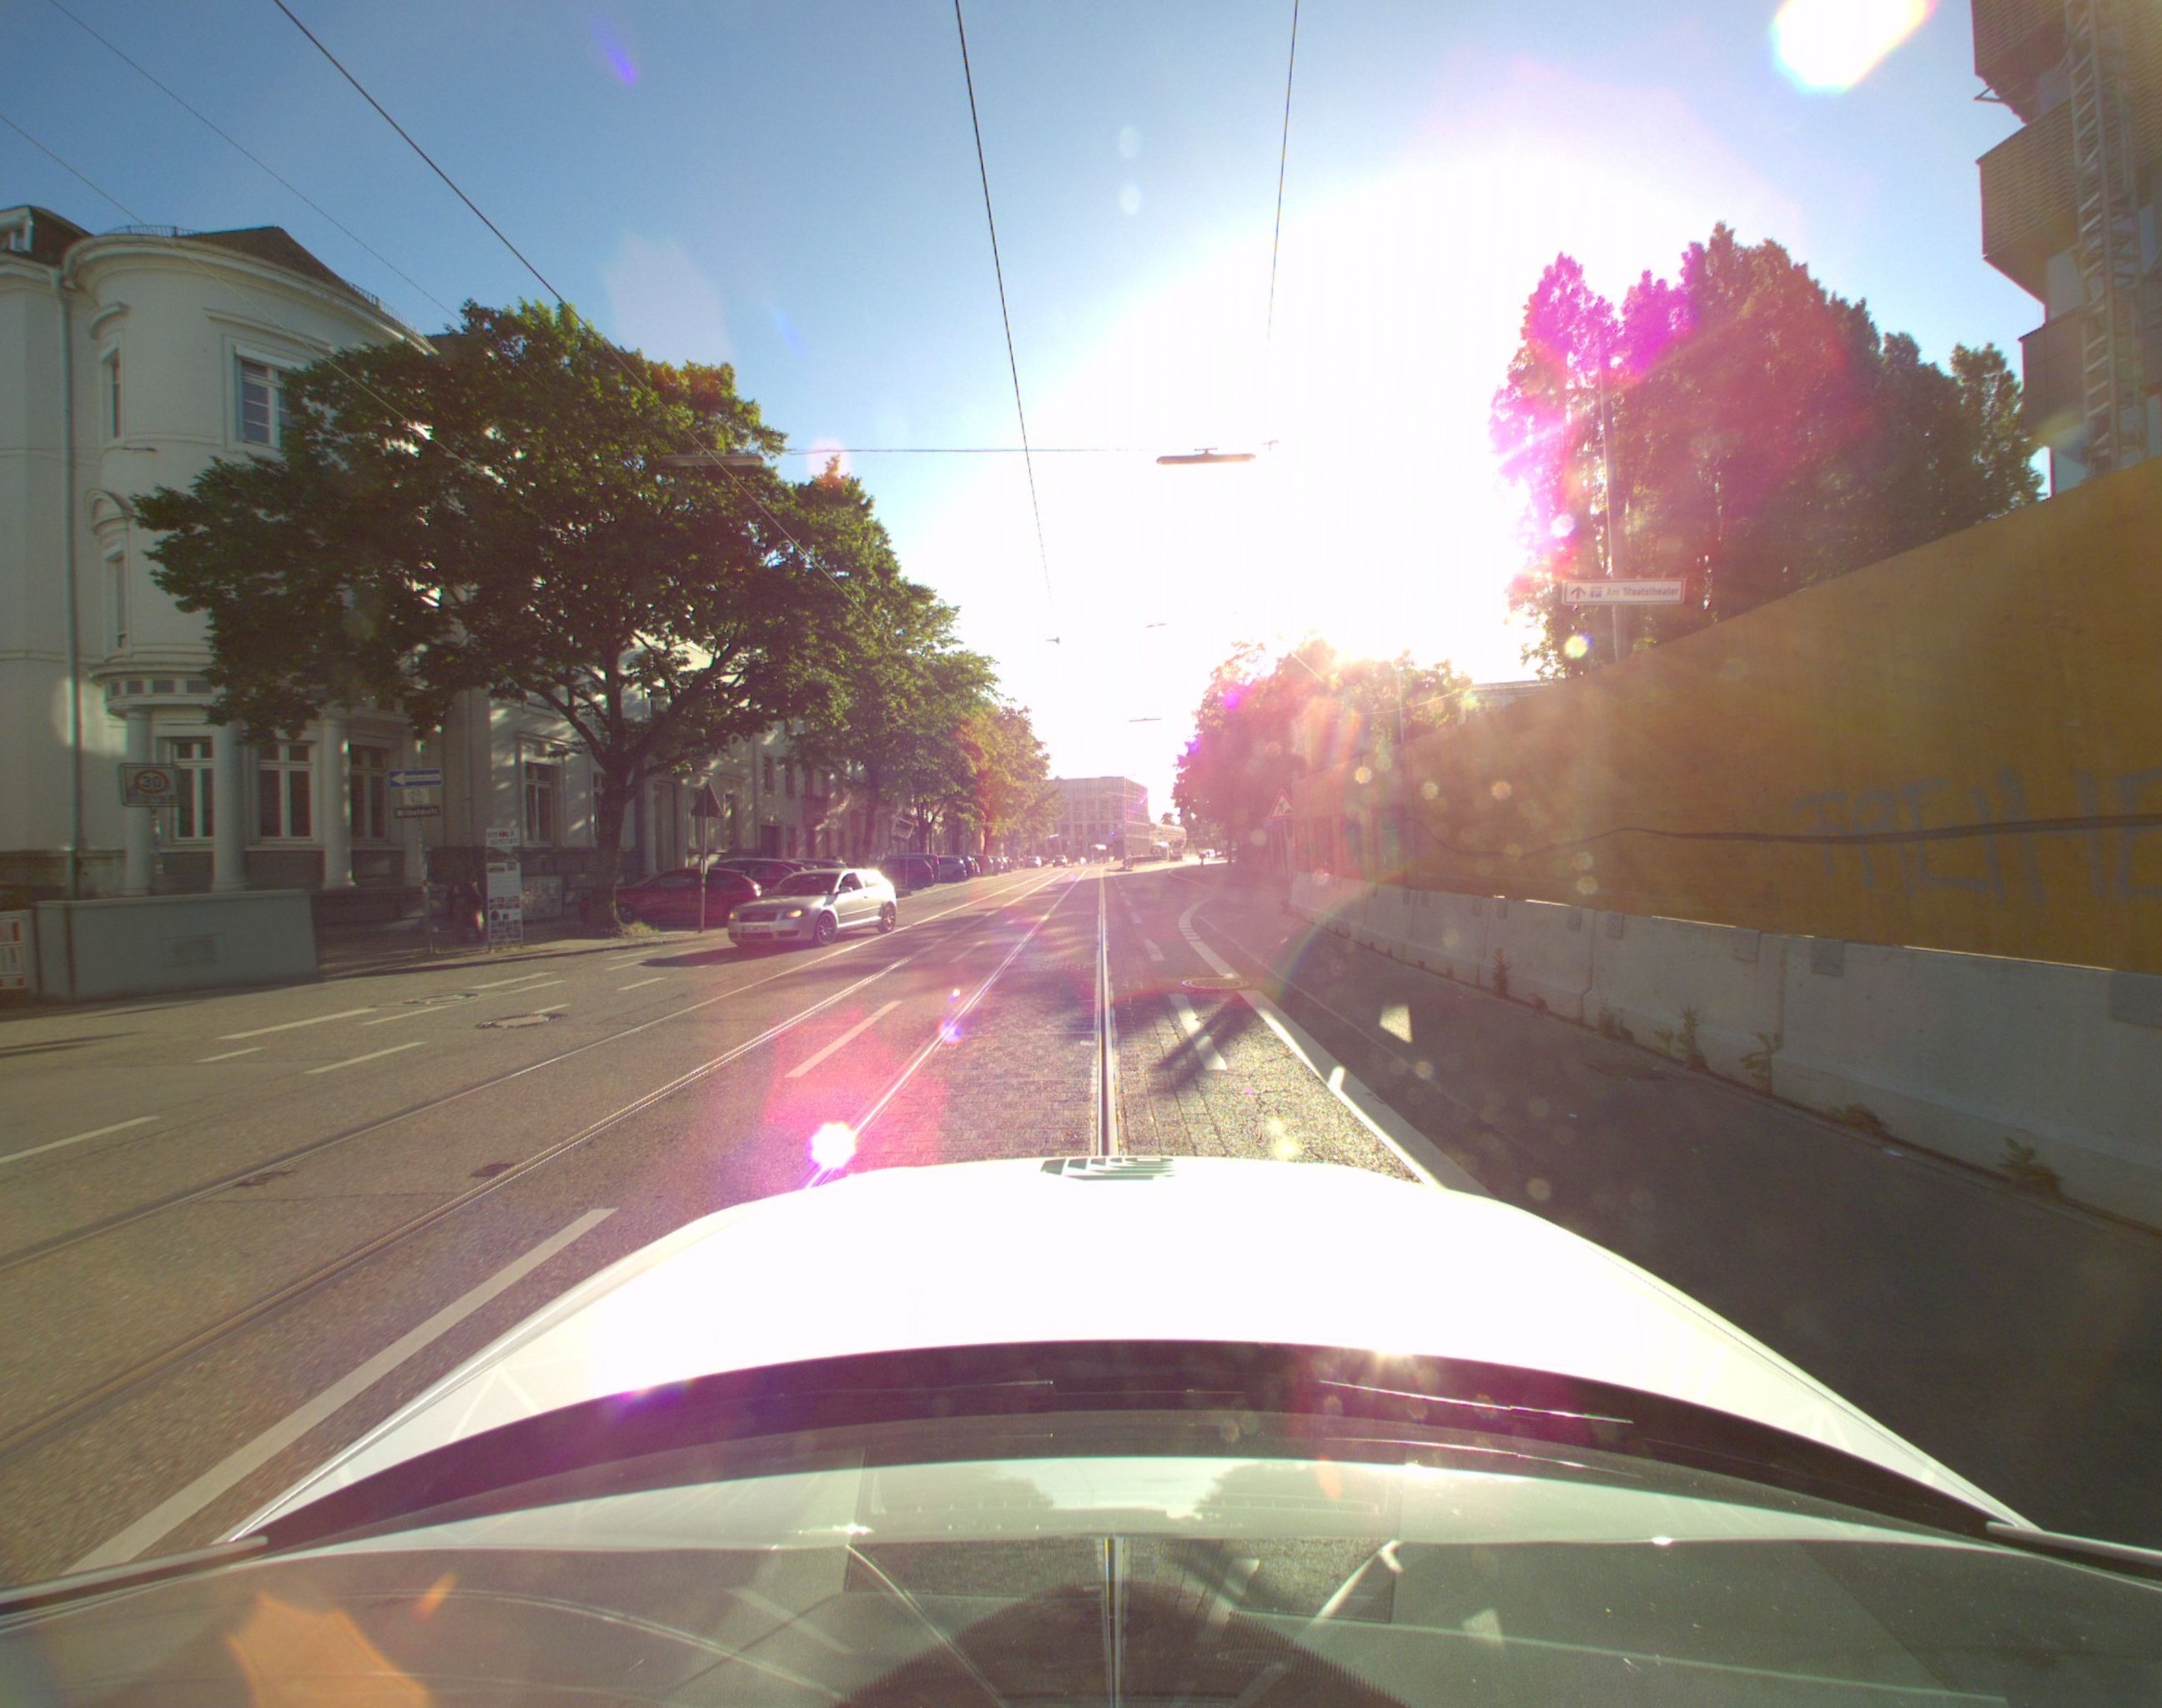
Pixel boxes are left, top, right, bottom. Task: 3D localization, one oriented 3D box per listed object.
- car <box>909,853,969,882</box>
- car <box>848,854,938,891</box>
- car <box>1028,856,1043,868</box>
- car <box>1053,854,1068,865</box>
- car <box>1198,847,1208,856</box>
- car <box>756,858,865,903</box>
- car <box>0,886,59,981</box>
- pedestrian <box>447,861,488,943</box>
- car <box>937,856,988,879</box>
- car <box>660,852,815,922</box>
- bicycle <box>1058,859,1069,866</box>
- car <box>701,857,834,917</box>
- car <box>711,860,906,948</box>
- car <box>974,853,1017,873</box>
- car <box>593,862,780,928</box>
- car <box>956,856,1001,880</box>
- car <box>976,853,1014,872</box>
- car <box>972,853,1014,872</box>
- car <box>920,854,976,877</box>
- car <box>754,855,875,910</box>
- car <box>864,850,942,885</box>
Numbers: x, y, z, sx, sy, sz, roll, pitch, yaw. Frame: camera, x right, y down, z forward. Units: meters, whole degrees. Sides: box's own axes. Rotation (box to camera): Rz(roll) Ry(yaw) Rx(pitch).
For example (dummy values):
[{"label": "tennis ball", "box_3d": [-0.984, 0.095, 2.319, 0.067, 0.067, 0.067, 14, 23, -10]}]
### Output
[{"label": "car", "box_3d": [-8.853, 0.841, 50.780, 3.391, 1.697, 1.393, -1, -1, -27]}, {"label": "car", "box_3d": [-9.464, 0.904, 41.086, 4.182, 1.721, 1.570, -1, 0, -26]}, {"label": "car", "box_3d": [-5.995, 1.092, 107.444, 1.567, 1.490, 4.002, -2, 0, 2]}, {"label": "car", "box_3d": [-2.916, 0.800, 114.282, 1.550, 1.530, 4.006, -2, 0, 6]}, {"label": "car", "box_3d": [28.566, -0.638, 190.635, 1.980, 2.013, 4.014, -2, 0, 13]}, {"label": "car", "box_3d": [-10.313, 0.978, 31.144, 3.700, 1.527, 1.468, -2, 0, -34]}, {"label": "car", "box_3d": [-18.219, 1.278, 12.591, 3.222, 1.443, 1.478, -2, 0, 6]}, {"label": "pedestrian", "box_3d": [-12.063, 0.936, 16.017, 0.342, 1.572, 0.515, -2, 0, 26]}, {"label": "car", "box_3d": [-8.261, 0.962, 56.860, 3.283, 1.484, 1.460, -1, 0, -21]}, {"label": "car", "box_3d": [-9.475, 0.859, 22.548, 3.700, 1.721, 1.594, -2, 0, -34]}, {"label": "bicycle", "box_3d": [-3.097, 1.429, 141.077, 1.792, 1.224, 0.597, -2, -1, -7]}, {"label": "car", "box_3d": [-9.737, 0.962, 25.305, 3.579, 1.662, 1.720, -1, 0, -32]}, {"label": "car", "box_3d": [-5.155, 0.889, 16.096, 1.697, 1.436, 4.185, -2, 0, 12]}, {"label": "car", "box_3d": [-7.089, 0.722, 67.537, 3.283, 1.585, 1.460, -1, 0, -21]}, {"label": "car", "box_3d": [-9.552, 0.930, 19.807, 3.928, 1.453, 1.621, 0, -1, -32]}, {"label": "car", "box_3d": [-8.055, 1.091, 64.040, 3.283, 1.698, 1.460, -1, 0, -21]}, {"label": "car", "box_3d": [-8.034, 0.783, 76.074, 3.283, 1.585, 1.460, -2, 0, -21]}, {"label": "car", "box_3d": [-7.523, 0.724, 69.509, 3.283, 1.585, 1.460, -1, 0, -21]}, {"label": "car", "box_3d": [-8.768, 0.778, 53.739, 3.391, 1.420, 1.393, -1, -1, -27]}, {"label": "car", "box_3d": [-9.307, 0.954, 28.525, 3.700, 1.721, 1.594, -2, 0, -34]}, {"label": "car", "box_3d": [-9.632, 0.707, 44.160, 3.851, 1.832, 1.716, 0, -1, -29]}]
